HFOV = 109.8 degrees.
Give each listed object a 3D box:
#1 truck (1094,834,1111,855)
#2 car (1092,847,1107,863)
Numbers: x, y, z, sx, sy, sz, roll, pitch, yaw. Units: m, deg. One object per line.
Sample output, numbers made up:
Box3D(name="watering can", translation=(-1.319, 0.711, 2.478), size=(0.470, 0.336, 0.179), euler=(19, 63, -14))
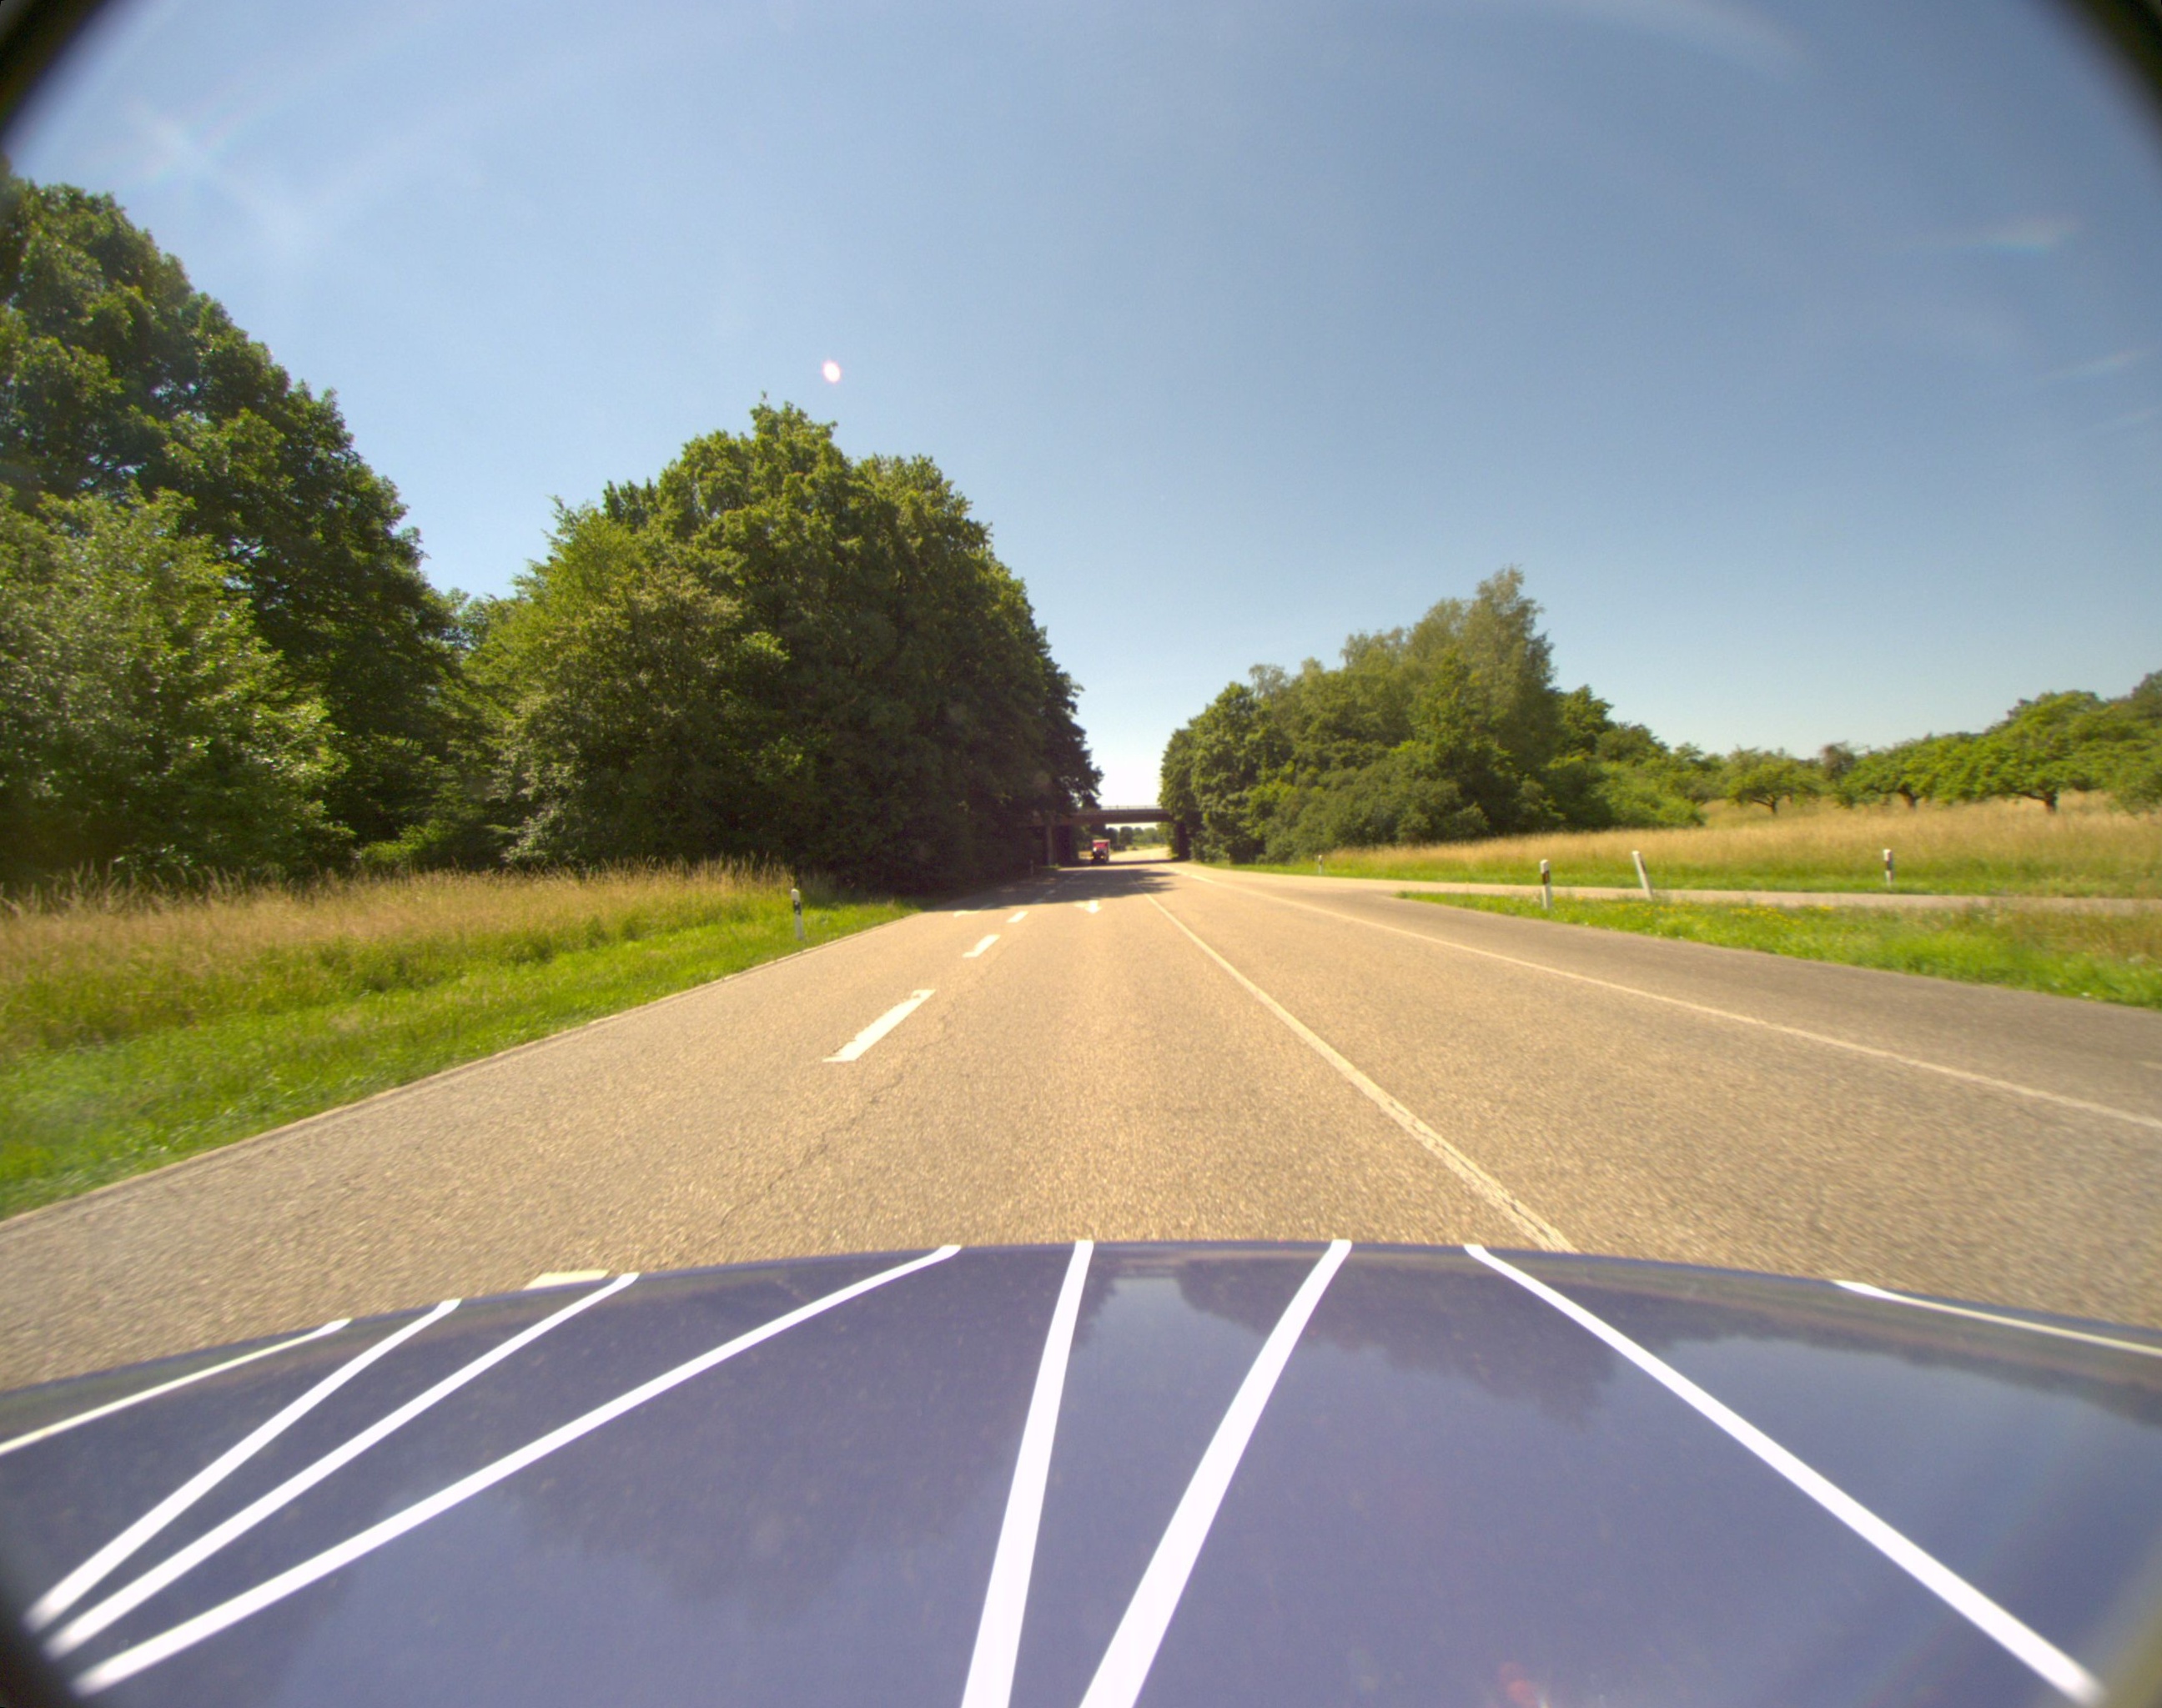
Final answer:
Box3D(name="truck", translation=(3.272, -1.449, 114.442), size=(2.457, 2.927, 6.974), euler=(-2, 1, 3))
Box3D(name="car", translation=(2.248, 0.102, 92.435), size=(1.746, 1.833, 4.000), euler=(-2, 1, 2))
